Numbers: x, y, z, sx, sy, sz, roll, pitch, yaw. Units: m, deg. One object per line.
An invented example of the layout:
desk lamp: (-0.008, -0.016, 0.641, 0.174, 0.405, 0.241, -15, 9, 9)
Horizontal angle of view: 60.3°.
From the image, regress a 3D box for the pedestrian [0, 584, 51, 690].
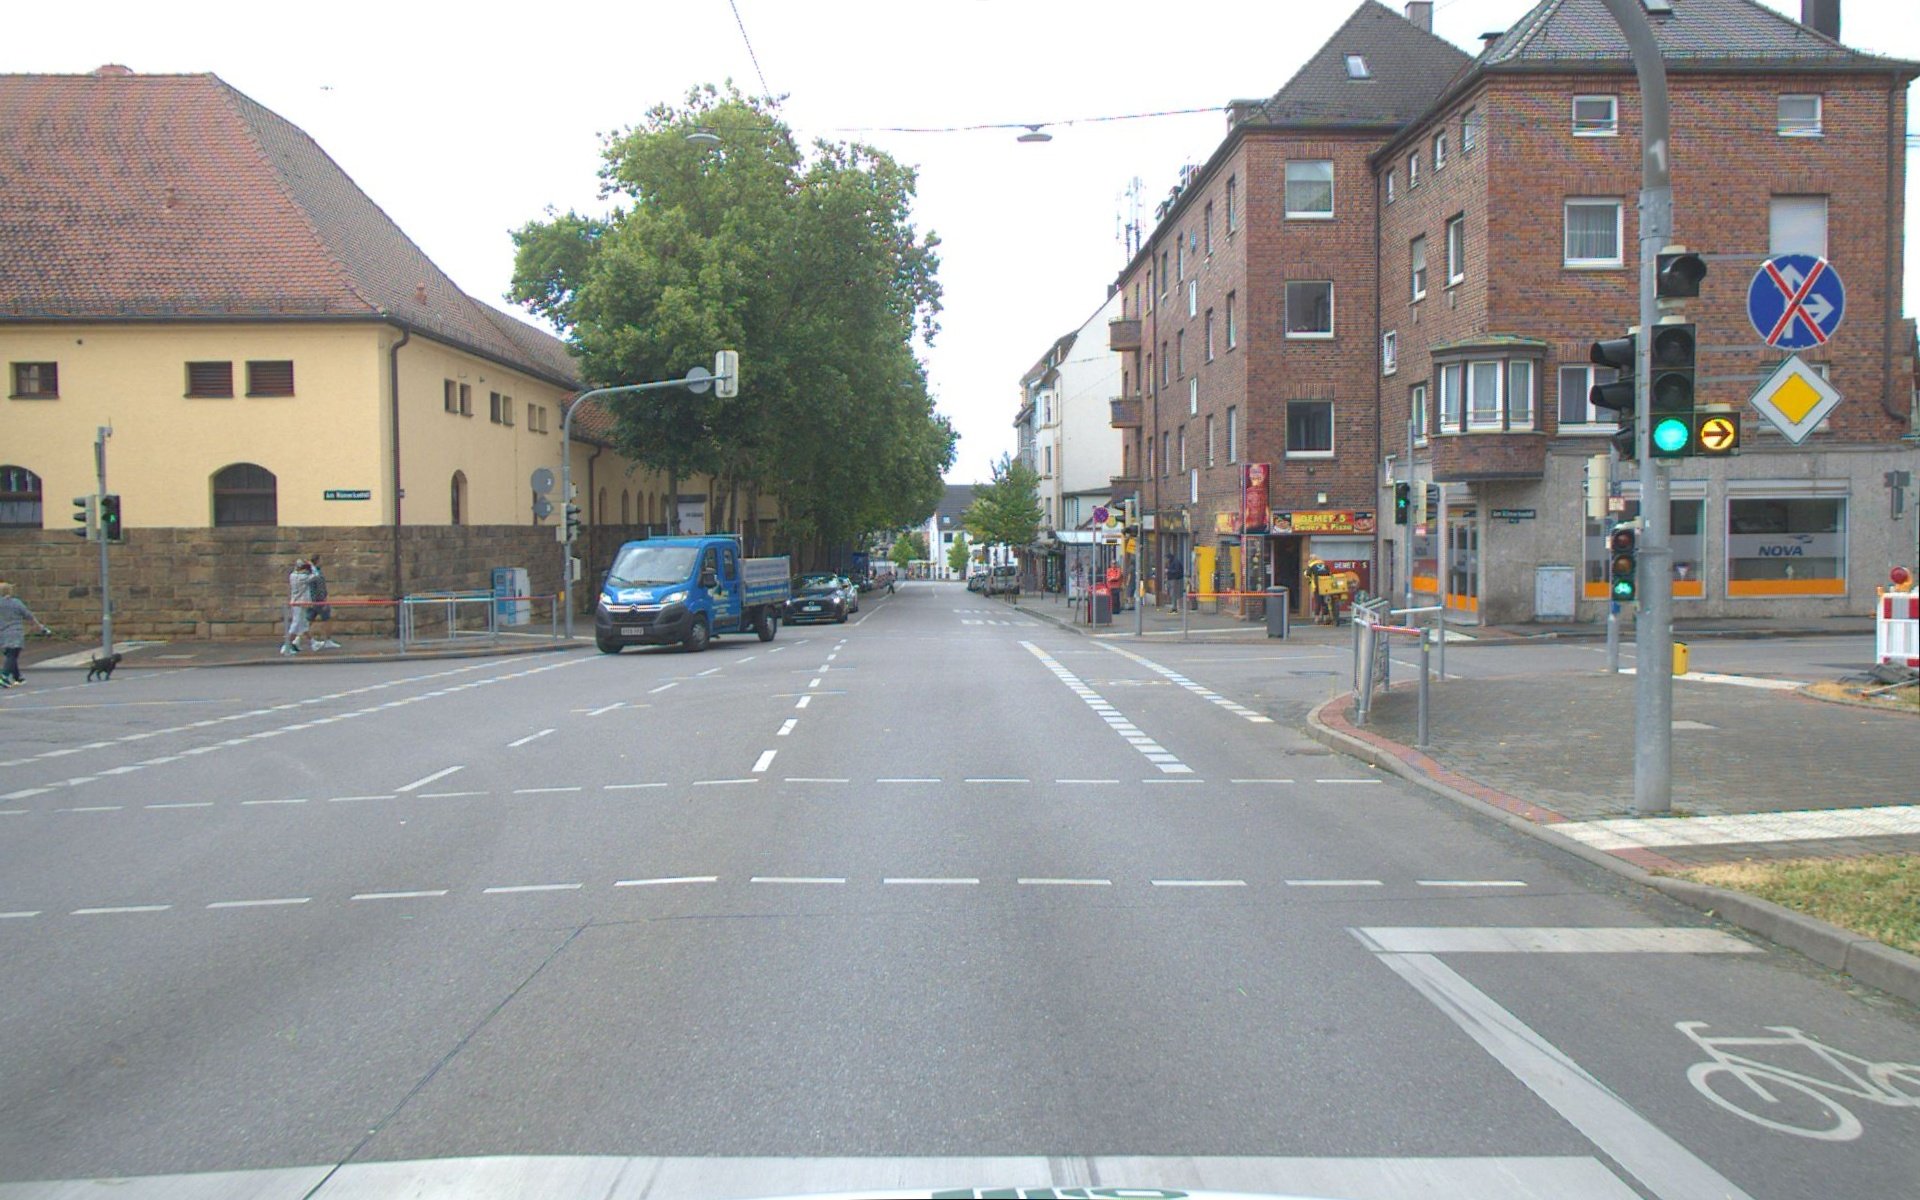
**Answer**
pedestrian: (-14.585, 0.560, 25.563, 0.552, 1.594, 0.843, 0, 1, 4)

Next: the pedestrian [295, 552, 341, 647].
pedestrian: (-12.401, -0.012, 31.972, 0.552, 1.808, 0.842, 0, 1, -2)

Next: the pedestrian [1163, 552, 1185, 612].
pedestrian: (6.412, -0.533, 49.587, 0.633, 1.780, 0.778, 0, 1, 4)

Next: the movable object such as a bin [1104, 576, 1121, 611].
movable object such as a bin: (4.803, -0.211, 52.025, 0.443, 1.075, 0.410, 0, 1, 19)

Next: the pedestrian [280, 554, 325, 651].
pedestrian: (-12.377, 0.037, 31.148, 0.552, 1.808, 0.717, 0, 1, -2)

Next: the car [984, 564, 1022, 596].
car: (2.683, -1.259, 104.885, 1.954, 1.969, 4.915, 0, 1, -4)

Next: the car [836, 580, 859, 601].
car: (-8.932, -0.731, 131.287, 1.798, 1.605, 3.754, 0, 1, -4)

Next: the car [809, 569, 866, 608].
car: (-4.398, -0.420, 59.953, 1.651, 1.298, 4.095, -3, 0, 1)

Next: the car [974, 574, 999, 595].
car: (2.028, -1.227, 128.188, 1.635, 1.574, 3.754, 0, 1, -4)

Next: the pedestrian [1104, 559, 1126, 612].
pedestrian: (4.910, -0.460, 52.261, 0.553, 1.665, 0.681, 0, 1, 19)

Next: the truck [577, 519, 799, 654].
truck: (-5.407, -0.321, 34.120, 2.246, 2.469, 6.417, -1, 1, 12)

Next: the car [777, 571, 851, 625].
car: (-4.157, -0.089, 47.590, 1.668, 1.439, 4.193, -2, 1, 1)

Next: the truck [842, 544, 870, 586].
truck: (-8.804, -2.973, 140.606, 2.186, 3.404, 7.447, 0, 1, -2)

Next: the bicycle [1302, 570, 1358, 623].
bicycle: (8.708, -0.107, 38.990, 0.744, 1.214, 2.391, 0, 1, -1)

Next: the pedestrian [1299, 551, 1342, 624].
pedestrian: (8.580, -0.295, 39.388, 0.772, 1.685, 0.772, -3, 1, -1)

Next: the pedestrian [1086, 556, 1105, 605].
pedestrian: (4.914, -0.722, 59.952, 0.656, 1.758, 0.764, 0, 1, 4)

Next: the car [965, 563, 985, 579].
car: (1.450, -2.768, 158.300, 1.635, 1.574, 3.754, 0, 1, -4)

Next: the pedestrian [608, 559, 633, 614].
pedestrian: (-11.200, -0.435, 54.595, 0.660, 1.795, 0.725, 0, 0, -1)

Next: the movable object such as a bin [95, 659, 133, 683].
movable object such as a bin: (-13.796, 1.152, 26.975, 0.300, 0.353, 0.581, 0, 1, 4)

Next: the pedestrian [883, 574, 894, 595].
pedestrian: (-5.302, -1.143, 122.334, 0.665, 1.563, 0.605, -1, 1, -29)

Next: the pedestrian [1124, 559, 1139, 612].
pedestrian: (5.836, -0.479, 56.321, 0.469, 1.795, 0.458, 0, 0, -1)

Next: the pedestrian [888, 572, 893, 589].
pedestrian: (-8.552, -2.405, 203.752, 0.620, 2.049, 0.784, 0, 1, 0)
